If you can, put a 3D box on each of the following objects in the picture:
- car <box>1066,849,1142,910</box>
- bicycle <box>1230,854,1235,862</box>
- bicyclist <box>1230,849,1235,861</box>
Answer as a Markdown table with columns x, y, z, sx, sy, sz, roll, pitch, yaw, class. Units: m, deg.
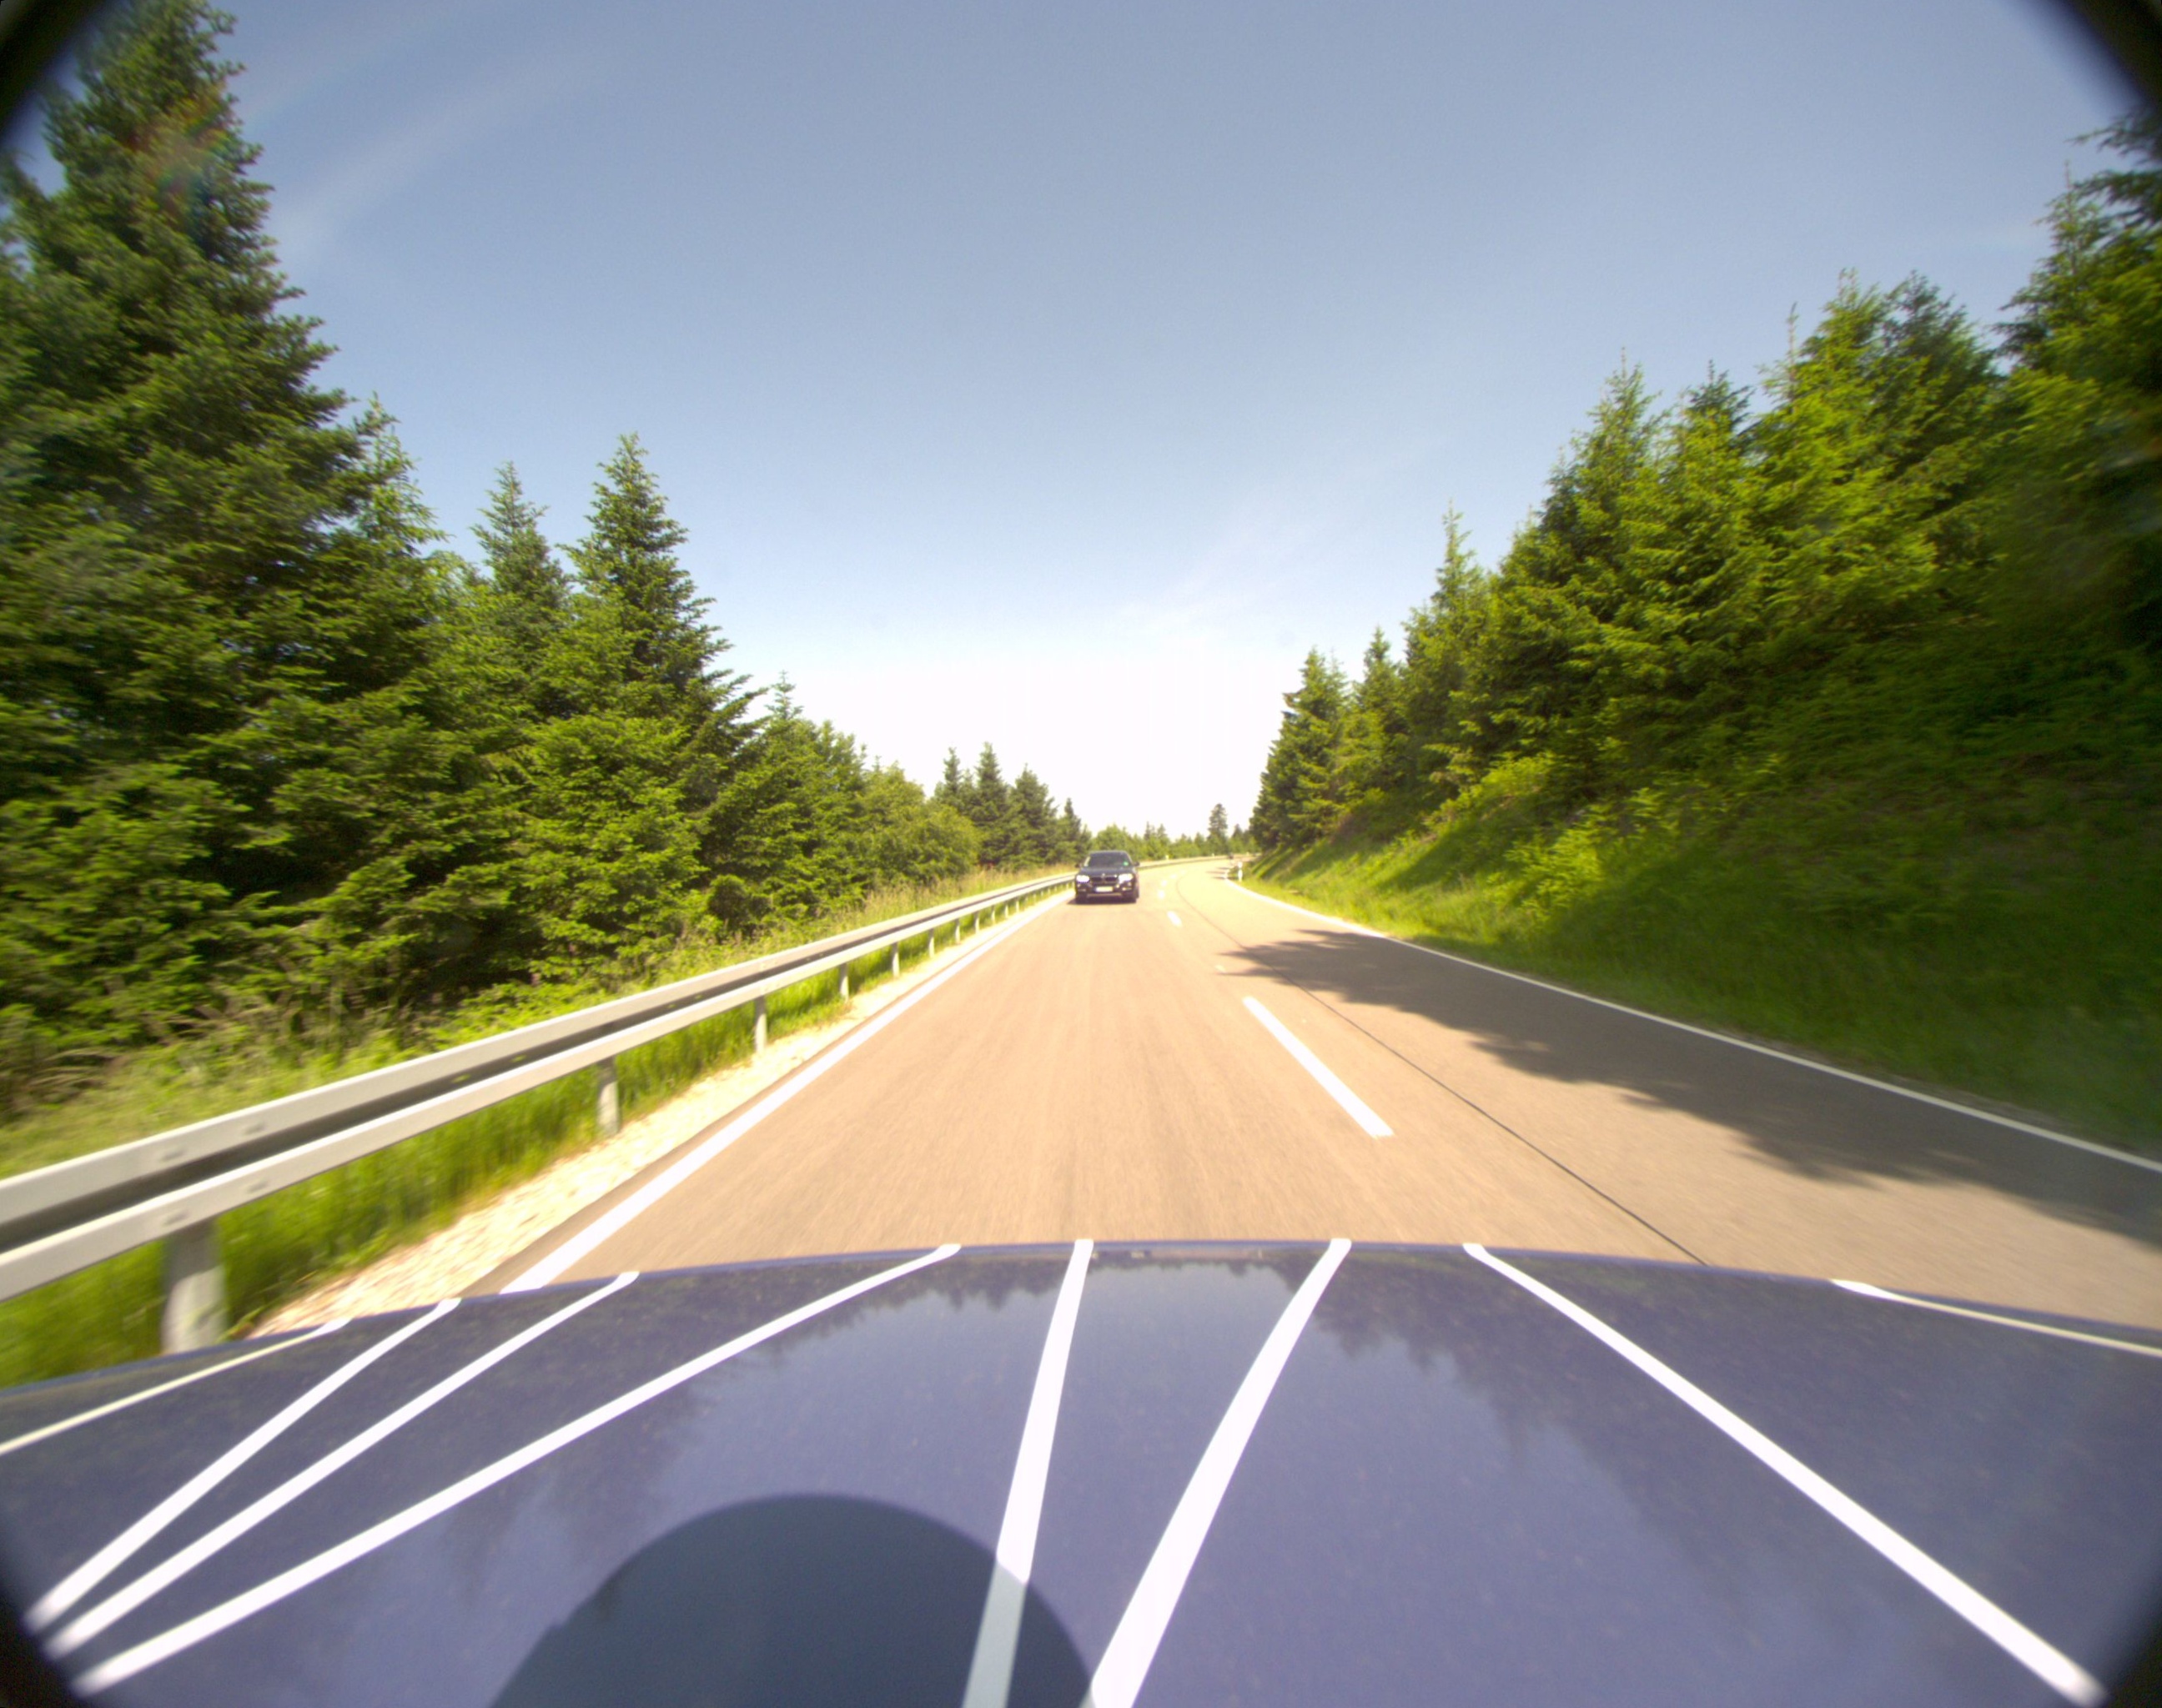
| x | y | z | sx | sy | sz | roll | pitch | yaw | class |
| --- | --- | --- | --- | --- | --- | --- | --- | --- | --- |
| 0.880 | 0.723 | 24.266 | 1.998 | 1.676 | 5.939 | -1 | 0 | 5 | car |
| 18.255 | 0.497 | 91.744 | 0.554 | 0.881 | 2.064 | 0 | 1 | 12 | bicycle |
| 18.281 | 0.071 | 91.796 | 0.542 | 1.442 | 0.984 | 0 | 1 | 12 | bicyclist |
